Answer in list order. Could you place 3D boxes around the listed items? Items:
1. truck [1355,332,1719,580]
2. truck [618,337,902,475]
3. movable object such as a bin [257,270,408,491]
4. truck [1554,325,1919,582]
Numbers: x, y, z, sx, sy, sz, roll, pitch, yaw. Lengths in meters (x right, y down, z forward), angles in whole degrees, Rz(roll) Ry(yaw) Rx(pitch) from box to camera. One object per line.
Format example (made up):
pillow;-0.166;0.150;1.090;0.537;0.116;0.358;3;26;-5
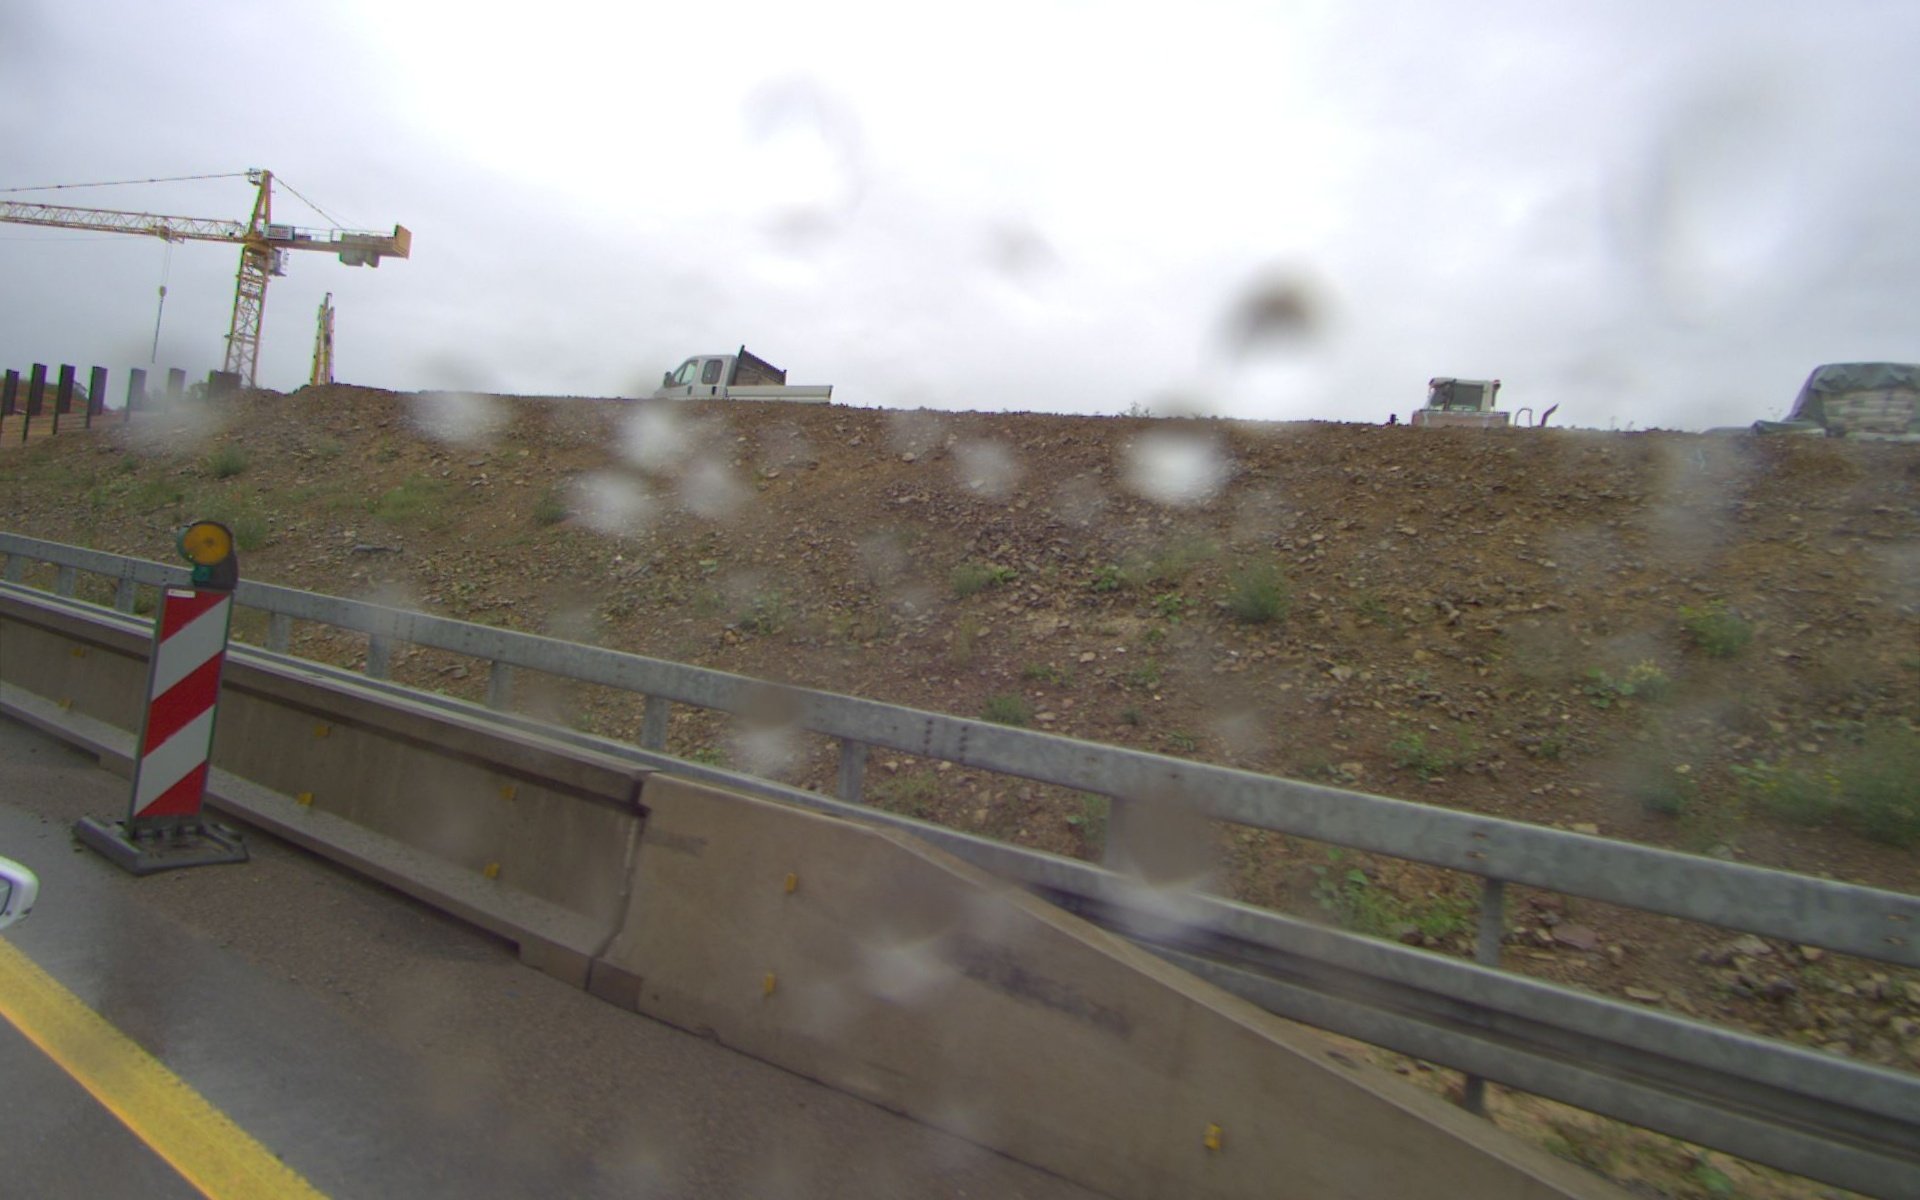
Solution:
truck;11.642;-2.825;20.768;5.880;4.267;2.377;5;-2;31
truck;-5.160;-4.733;25.517;6.869;2.584;2.650;5;-2;31
movable object such as a bin;-37.825;-12.611;60.412;4.705;10.969;10.179;7;-2;-44
truck;13.581;-1.897;14.027;8.817;2.908;3.400;4;-2;33
